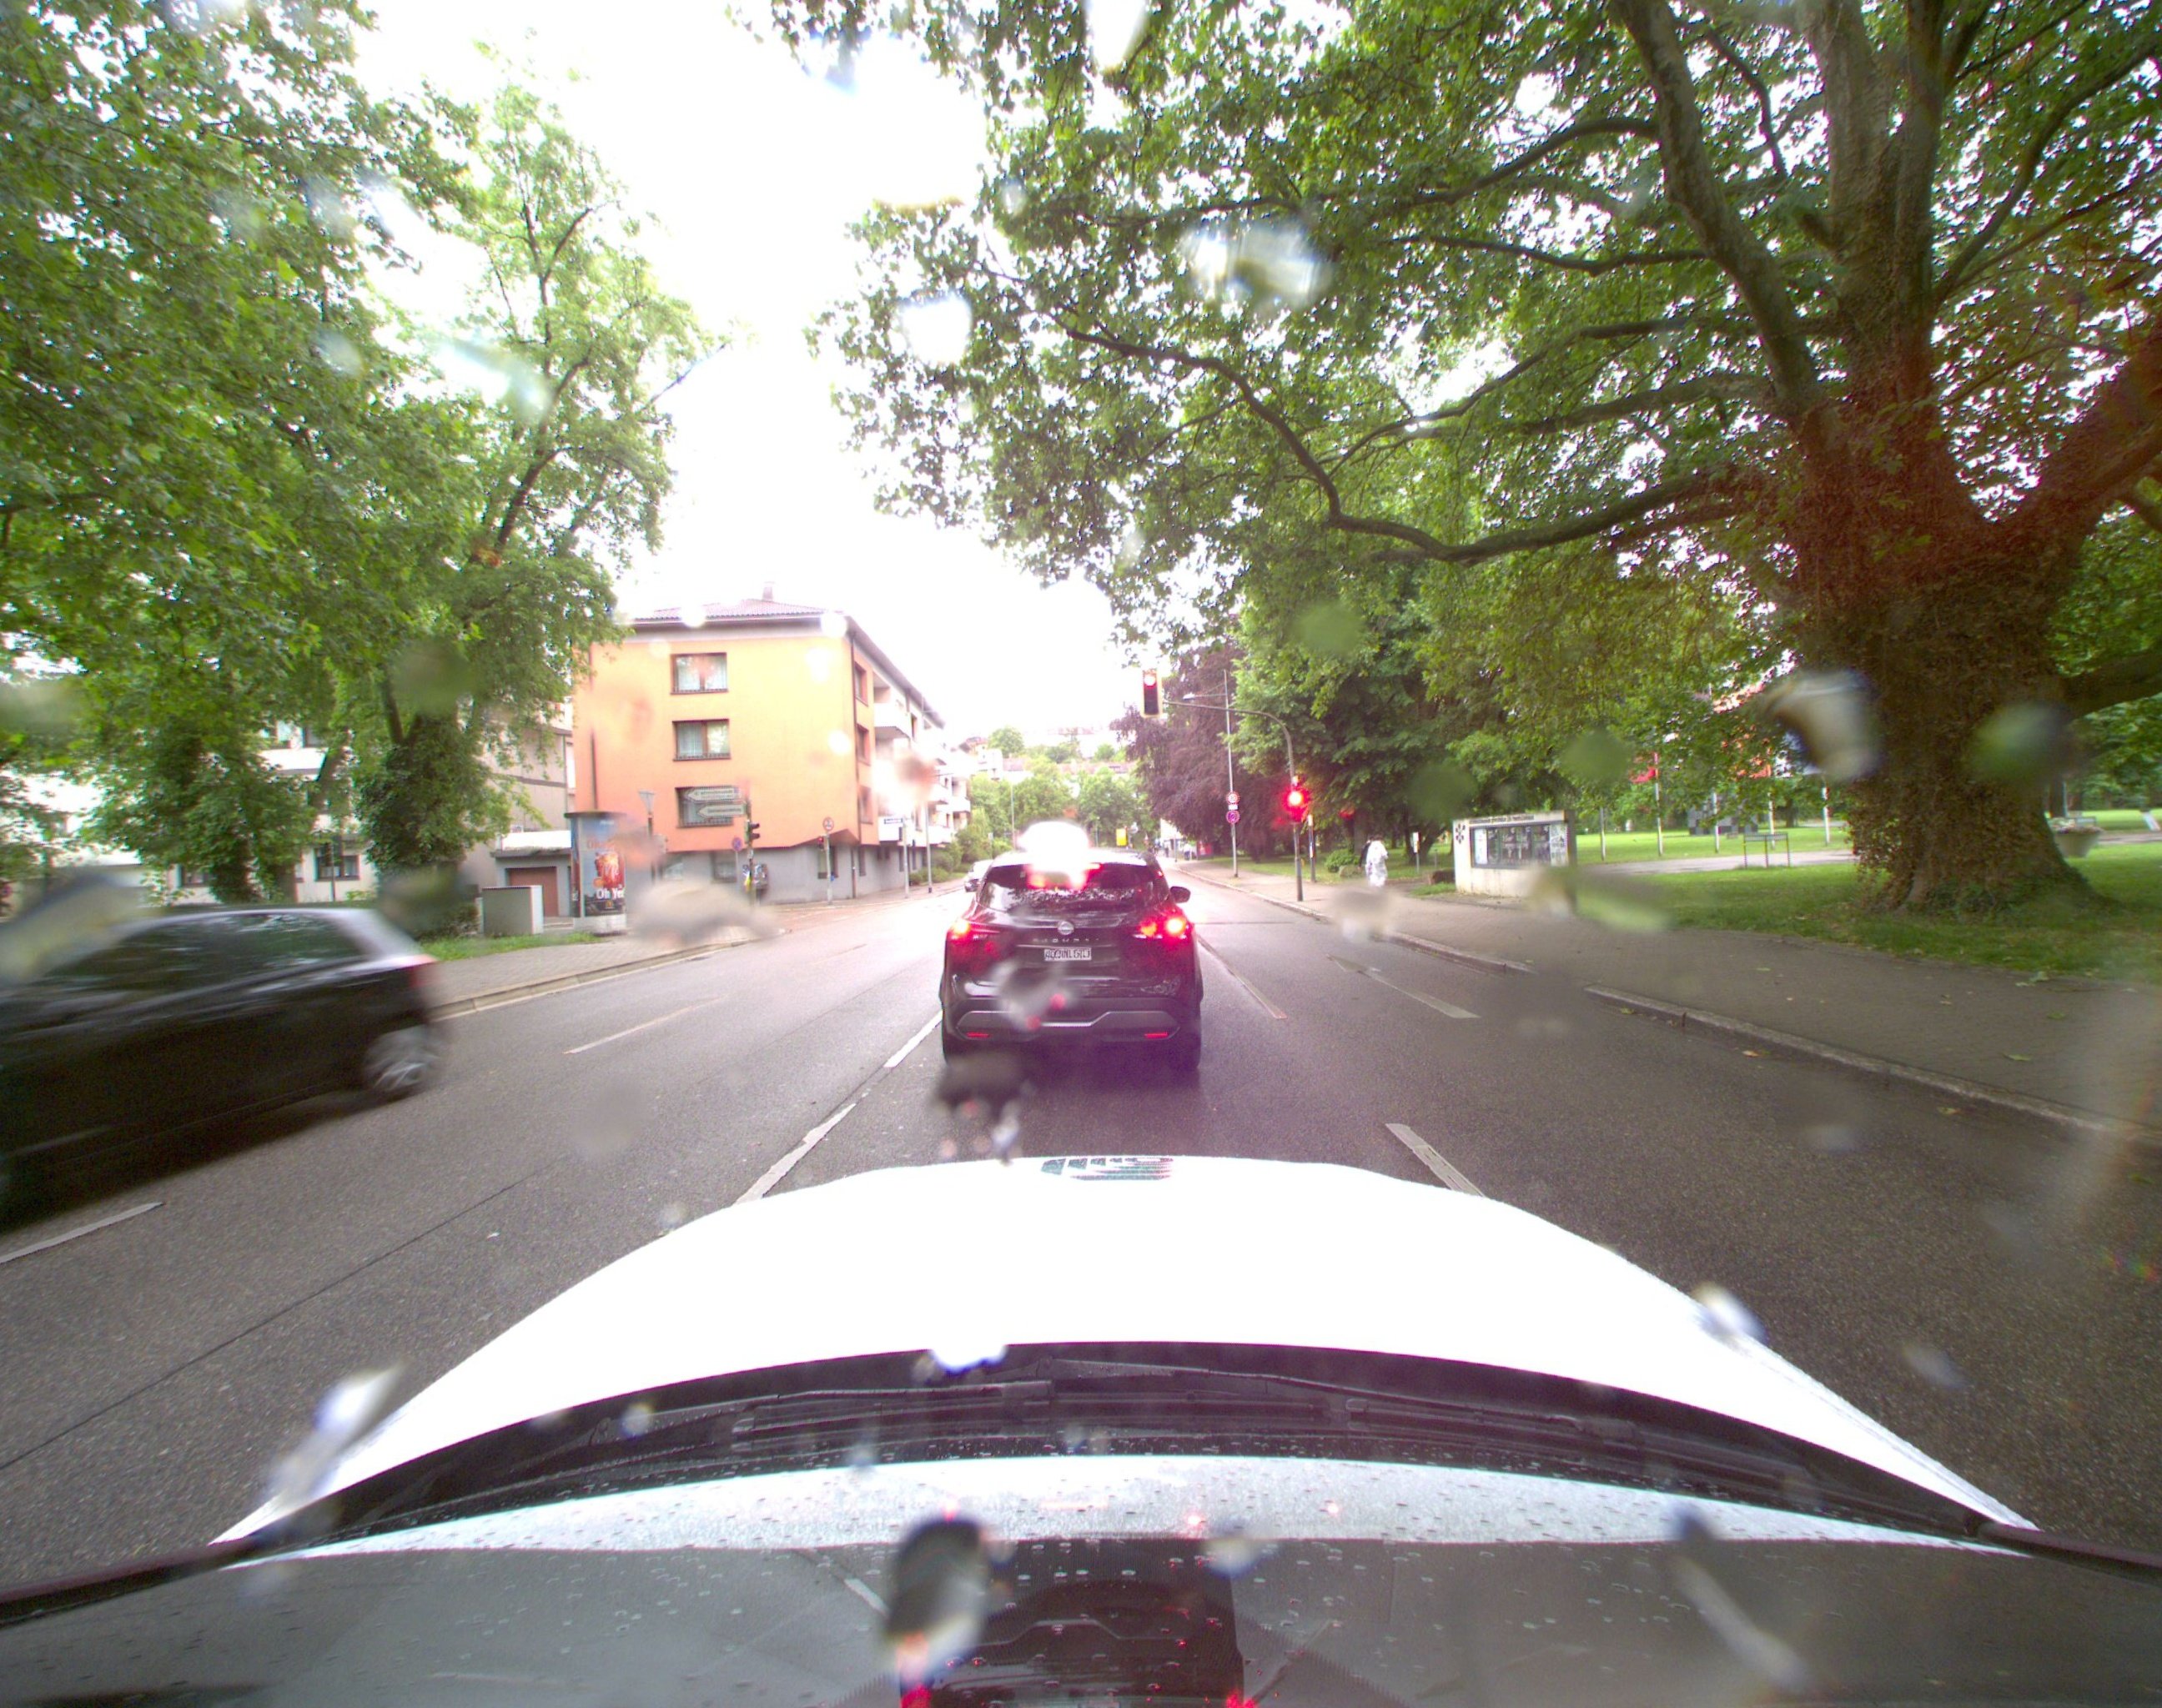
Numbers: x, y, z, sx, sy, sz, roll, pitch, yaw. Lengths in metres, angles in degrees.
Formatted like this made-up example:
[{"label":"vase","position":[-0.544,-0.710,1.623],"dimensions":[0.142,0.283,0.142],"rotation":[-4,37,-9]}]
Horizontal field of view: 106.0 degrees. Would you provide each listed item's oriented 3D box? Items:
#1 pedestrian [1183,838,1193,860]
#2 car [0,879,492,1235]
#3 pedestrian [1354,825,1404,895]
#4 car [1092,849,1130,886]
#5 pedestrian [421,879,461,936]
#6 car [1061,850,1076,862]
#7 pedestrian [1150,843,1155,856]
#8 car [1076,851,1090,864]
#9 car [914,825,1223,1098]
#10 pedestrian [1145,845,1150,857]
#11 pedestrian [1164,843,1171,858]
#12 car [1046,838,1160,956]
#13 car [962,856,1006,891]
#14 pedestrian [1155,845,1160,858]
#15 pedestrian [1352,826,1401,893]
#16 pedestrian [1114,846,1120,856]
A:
[{"label":"pedestrian","position":[10.136,-0.476,77.022],"dimensions":[0.722,2.013,0.852],"rotation":[-3,0,2]},{"label":"car","position":[-5.842,1.029,4.760],"dimensions":[1.789,1.533,3.869],"rotation":[-3,0,2]},{"label":"pedestrian","position":[8.539,0.166,23.377],"dimensions":[1.035,1.876,0.656],"rotation":[-5,0,-9]},{"label":"car","position":[1.566,0.635,41.304],"dimensions":[1.715,1.678,4.317],"rotation":[-3,0,3]},{"label":"pedestrian","position":[-17.863,1.475,22.719],"dimensions":[0.823,1.513,0.770],"rotation":[-1,-1,44]},{"label":"car","position":[-1.877,0.308,119.796],"dimensions":[1.963,1.532,3.969],"rotation":[-3,0,2]},{"label":"pedestrian","position":[9.917,-0.581,113.379],"dimensions":[0.505,1.802,0.661],"rotation":[-3,0,13]},{"label":"car","position":[0.260,0.447,103.360],"dimensions":[1.628,1.532,3.969],"rotation":[-3,0,2]},{"label":"car","position":[-0.010,0.669,7.104],"dimensions":[1.906,1.680,4.002],"rotation":[-1,0,2]},{"label":"pedestrian","position":[10.219,-0.457,124.761],"dimensions":[0.503,1.673,0.663],"rotation":[-3,0,29]},{"label":"pedestrian","position":[10.433,-0.392,98.004],"dimensions":[0.613,1.802,0.512],"rotation":[-3,0,16]},{"label":"car","position":[0.407,0.672,14.571],"dimensions":[1.692,1.745,3.642],"rotation":[-3,0,2]},{"label":"car","position":[-4.850,0.949,41.246],"dimensions":[1.791,1.533,3.865],"rotation":[-3,0,-2]},{"label":"pedestrian","position":[10.581,-0.339,112.520],"dimensions":[0.507,1.802,0.619],"rotation":[-3,0,0]},{"label":"pedestrian","position":[8.743,0.170,24.124],"dimensions":[1.035,1.876,0.656],"rotation":[-5,0,-9]},{"label":"pedestrian","position":[5.983,-0.539,135.206],"dimensions":[0.503,1.673,0.663],"rotation":[-3,0,29]}]
